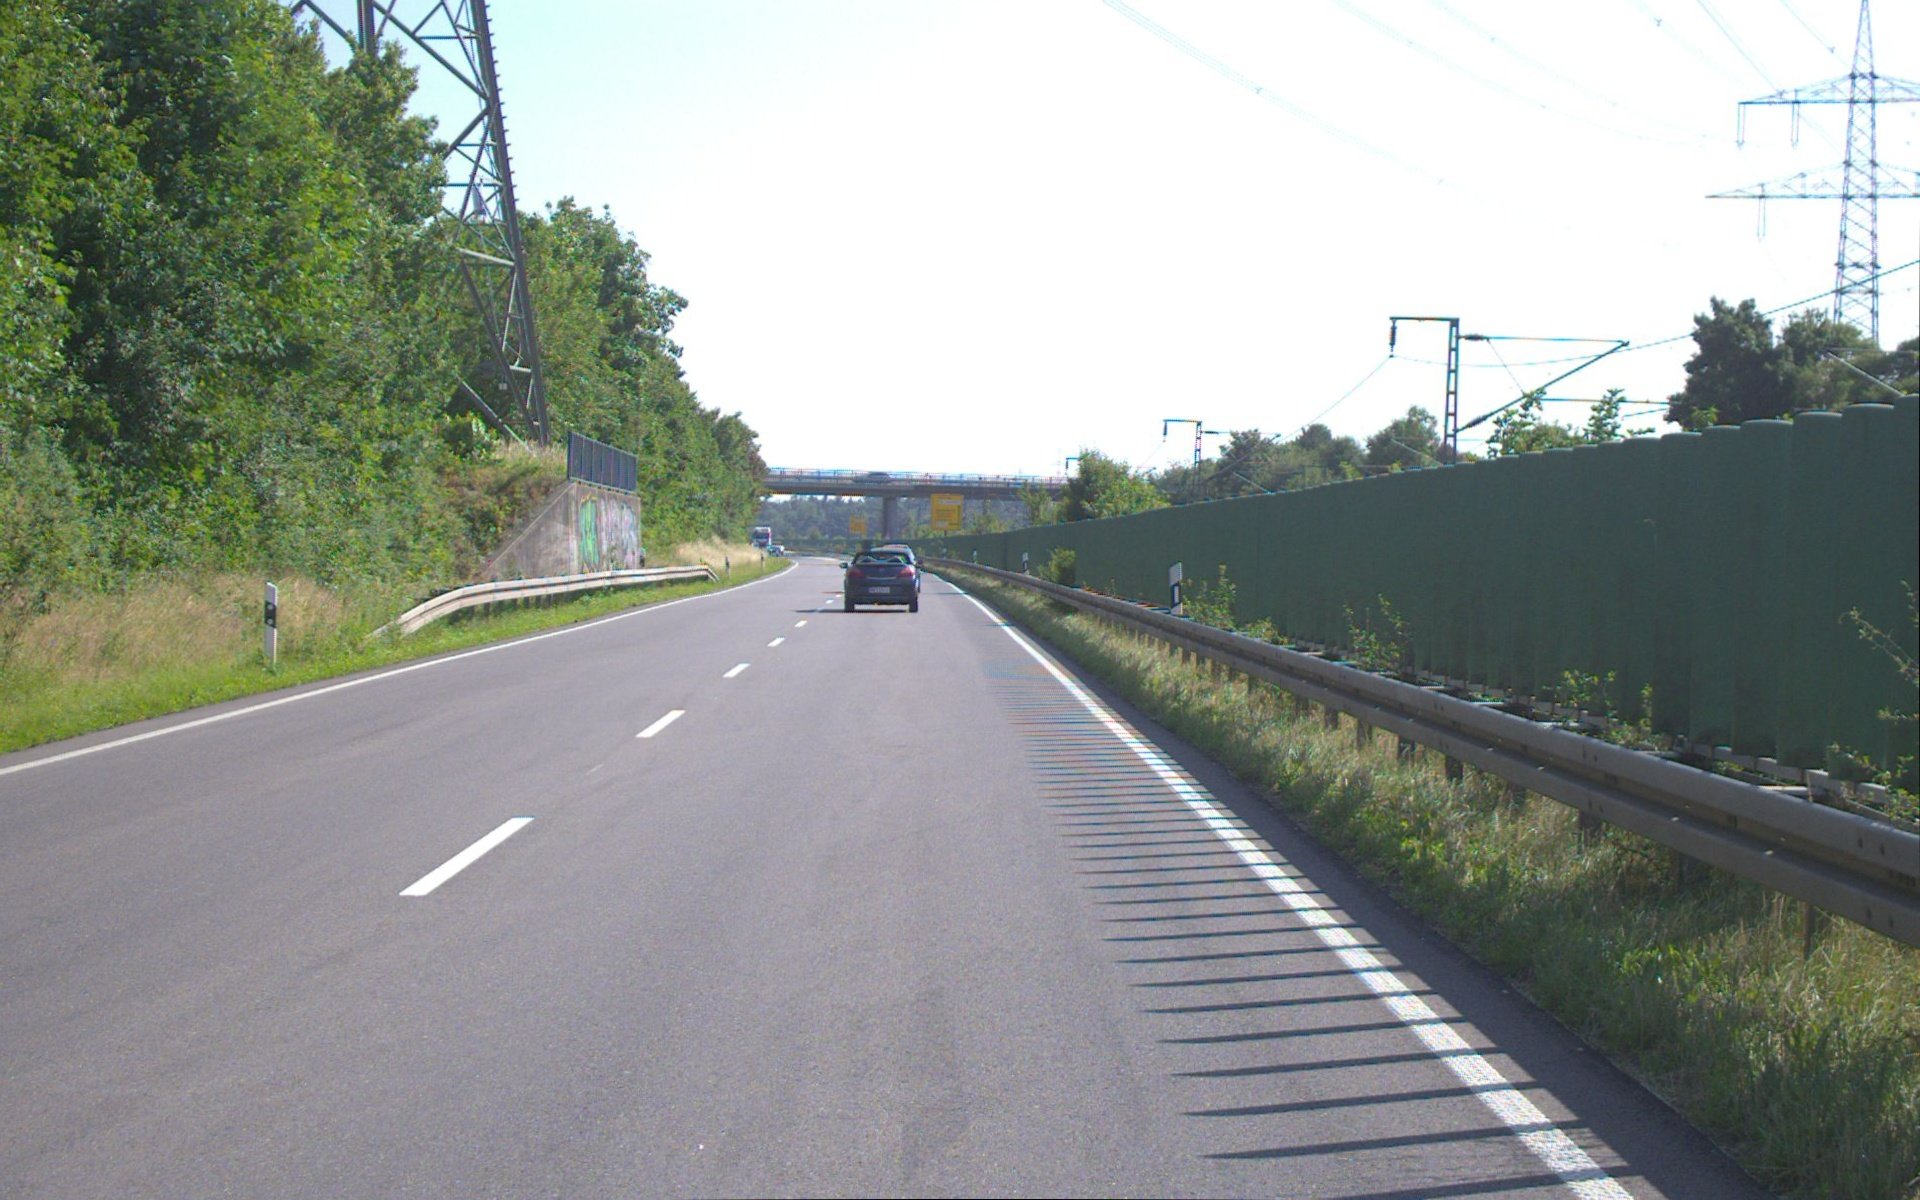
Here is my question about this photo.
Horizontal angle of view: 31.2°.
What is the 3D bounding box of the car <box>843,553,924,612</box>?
[{"bbox_3d":[-1.744,-0.405,76.991,1.663,1.257,4.001,1,1,-3],"label":"car"}]
